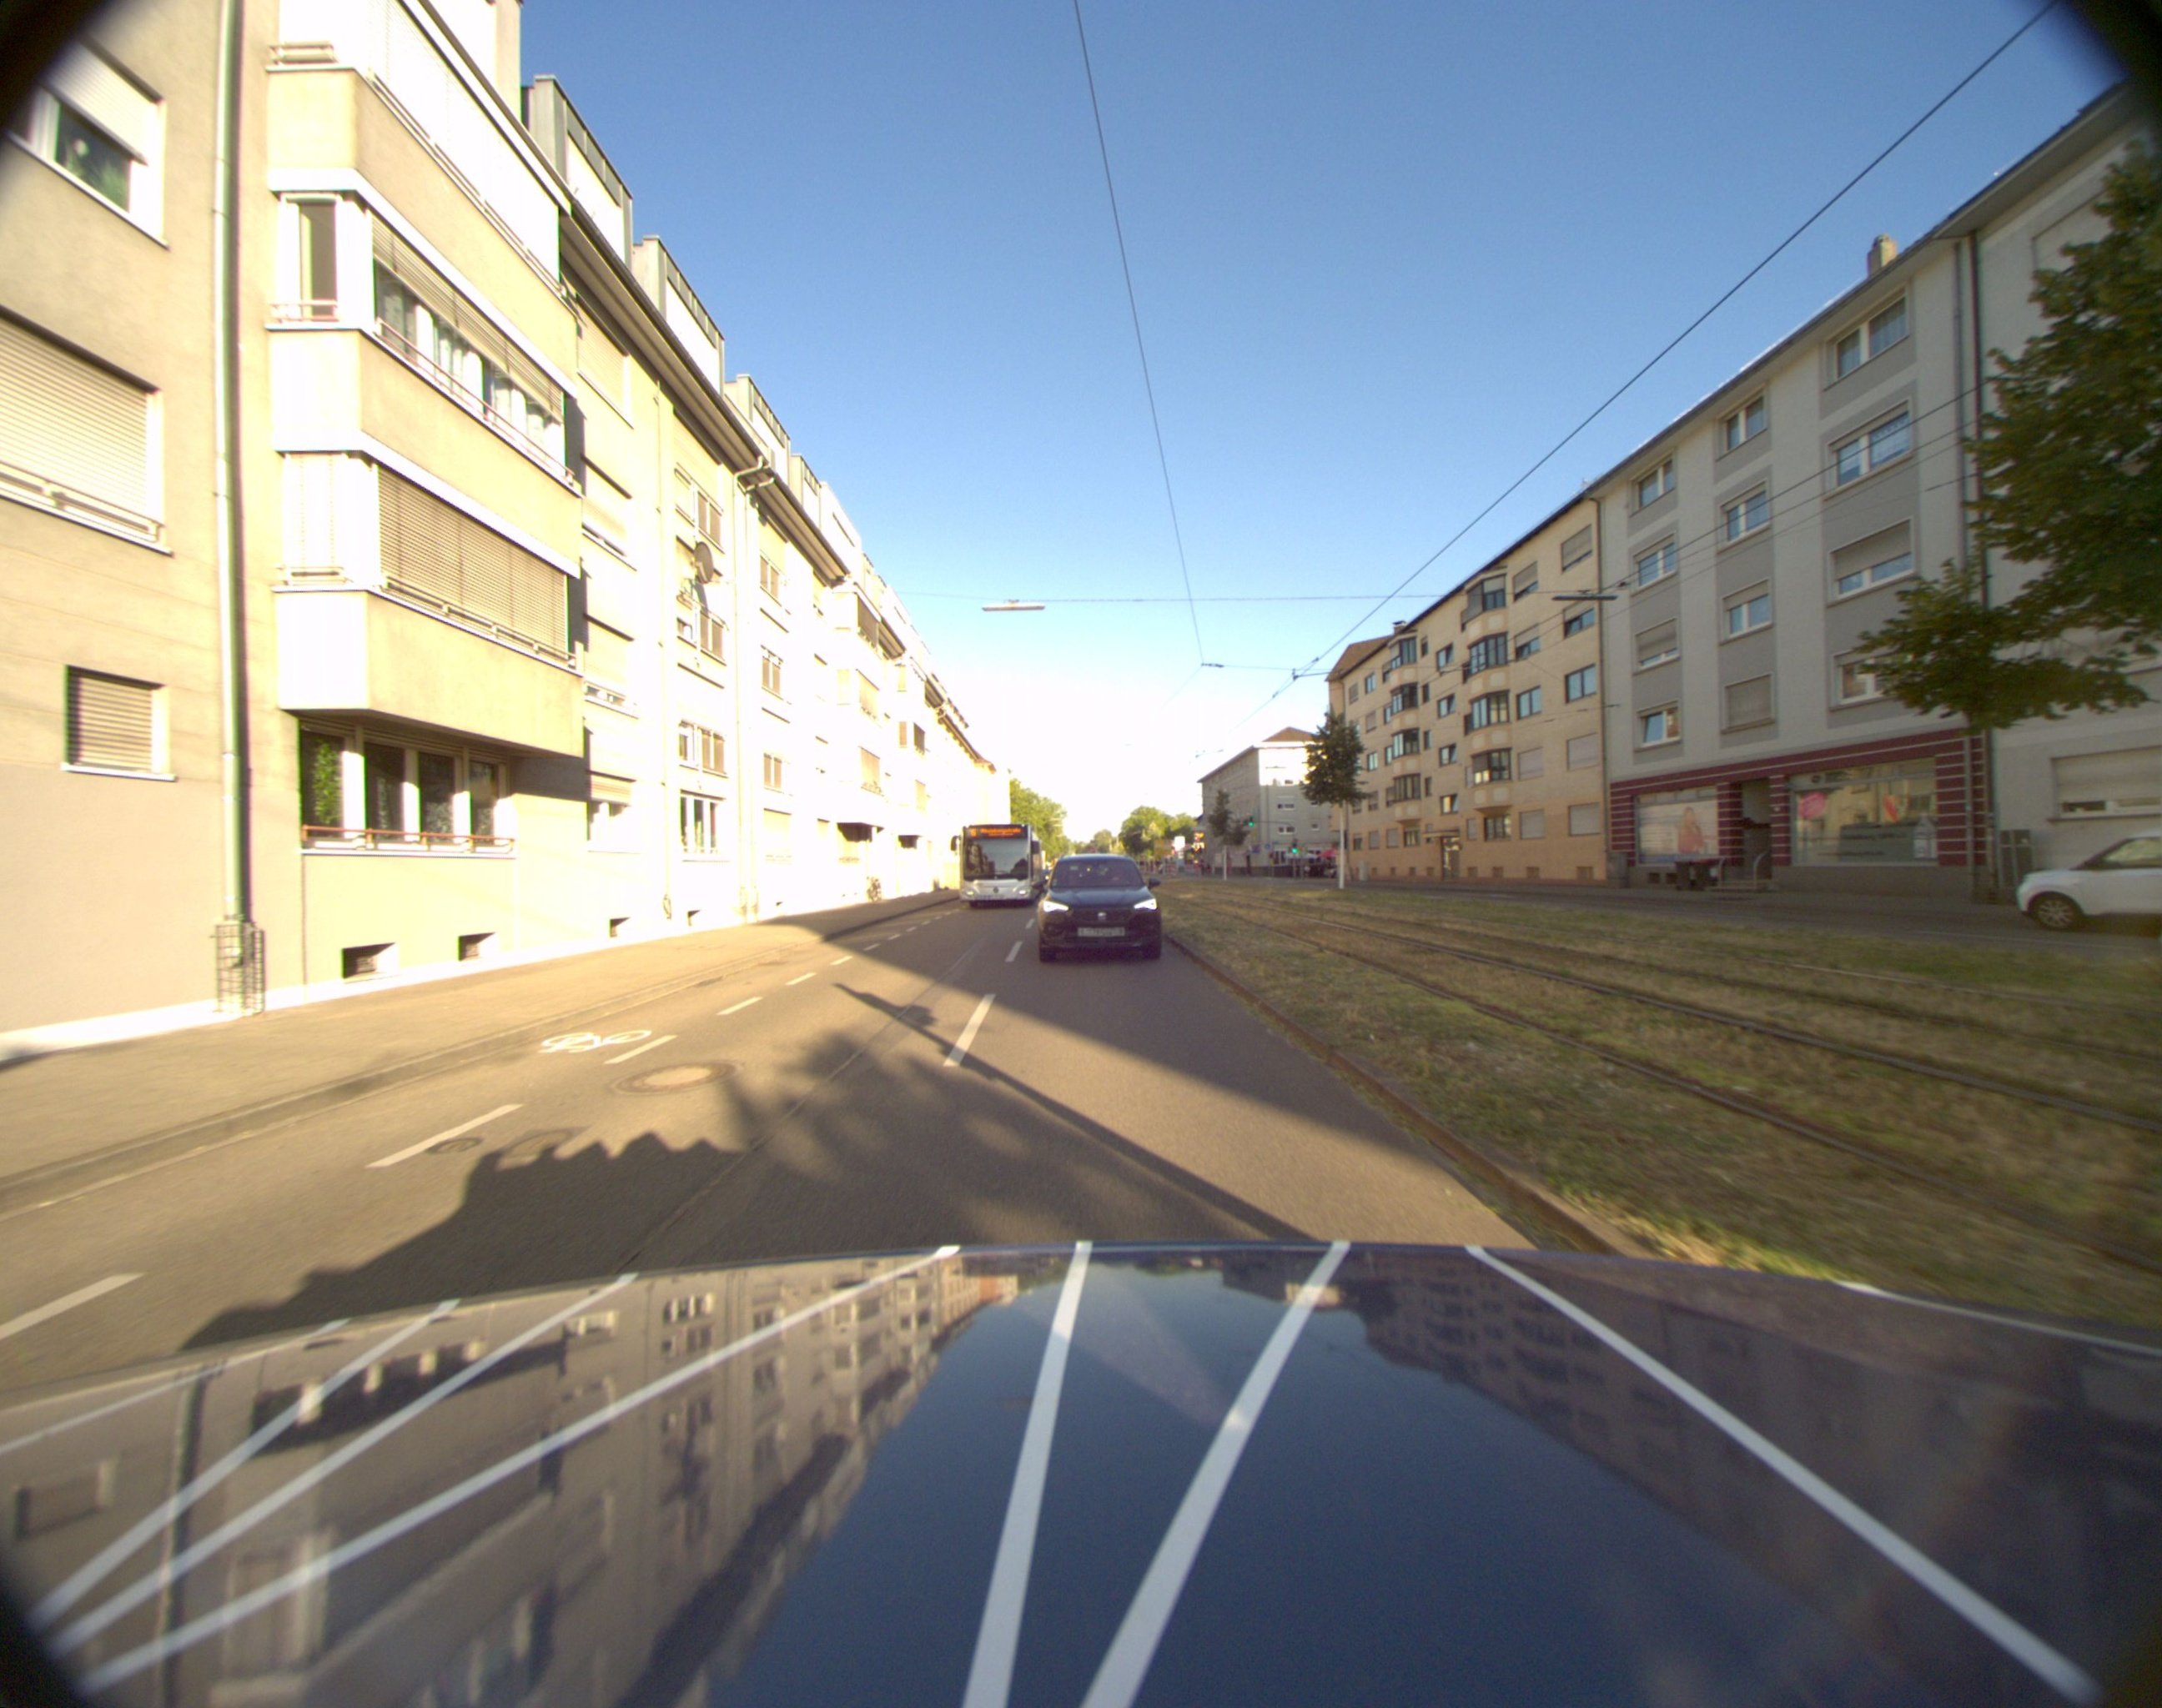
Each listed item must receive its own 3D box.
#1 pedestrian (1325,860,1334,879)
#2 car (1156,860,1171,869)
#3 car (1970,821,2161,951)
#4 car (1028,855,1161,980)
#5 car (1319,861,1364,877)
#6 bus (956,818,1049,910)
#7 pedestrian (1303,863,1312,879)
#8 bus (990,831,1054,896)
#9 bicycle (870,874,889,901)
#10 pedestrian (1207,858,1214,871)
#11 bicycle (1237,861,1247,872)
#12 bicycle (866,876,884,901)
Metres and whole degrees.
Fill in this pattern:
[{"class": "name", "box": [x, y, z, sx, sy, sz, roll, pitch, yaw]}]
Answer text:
[{"class": "pedestrian", "box": [22.575, 1.396, 68.884, 0.634, 1.760, 0.826, -1, 0, 26]}, {"class": "car", "box": [14.176, 1.814, 130.375, 1.922, 1.581, 4.469, -1, -1, -1]}, {"class": "car", "box": [17.494, 0.461, 11.878, 1.871, 1.818, 4.422, -8, -1, 2]}, {"class": "car", "box": [0.230, 0.887, 12.637, 1.788, 1.615, 4.216, -2, 1, 1]}, {"class": "car", "box": [27.036, 1.546, 78.952, 3.998, 1.499, 1.999, -1, 0, -5]}, {"class": "bus", "box": [-2.885, 0.398, 31.004, 2.732, 3.059, 10.600, -2, -1, -1]}, {"class": "pedestrian", "box": [21.178, 1.580, 70.981, 0.624, 1.481, 0.582, -1, 1, -1]}, {"class": "bus", "box": [-3.017, 0.519, 41.621, 2.712, 3.059, 10.600, -2, -1, -1]}, {"class": "bicycle", "box": [-8.117, 1.340, 30.656, 0.360, 1.026, 1.730, 2, -1, -2]}, {"class": "pedestrian", "box": [18.135, 1.478, 106.273, 0.742, 1.730, 1.226, -1, 0, -1]}, {"class": "bicycle", "box": [20.367, 1.566, 96.160, 0.579, 1.370, 3.236, -1, 0, -2]}, {"class": "bicycle", "box": [-8.449, 1.396, 31.241, 0.279, 0.965, 1.730, 2, -1, -2]}]
